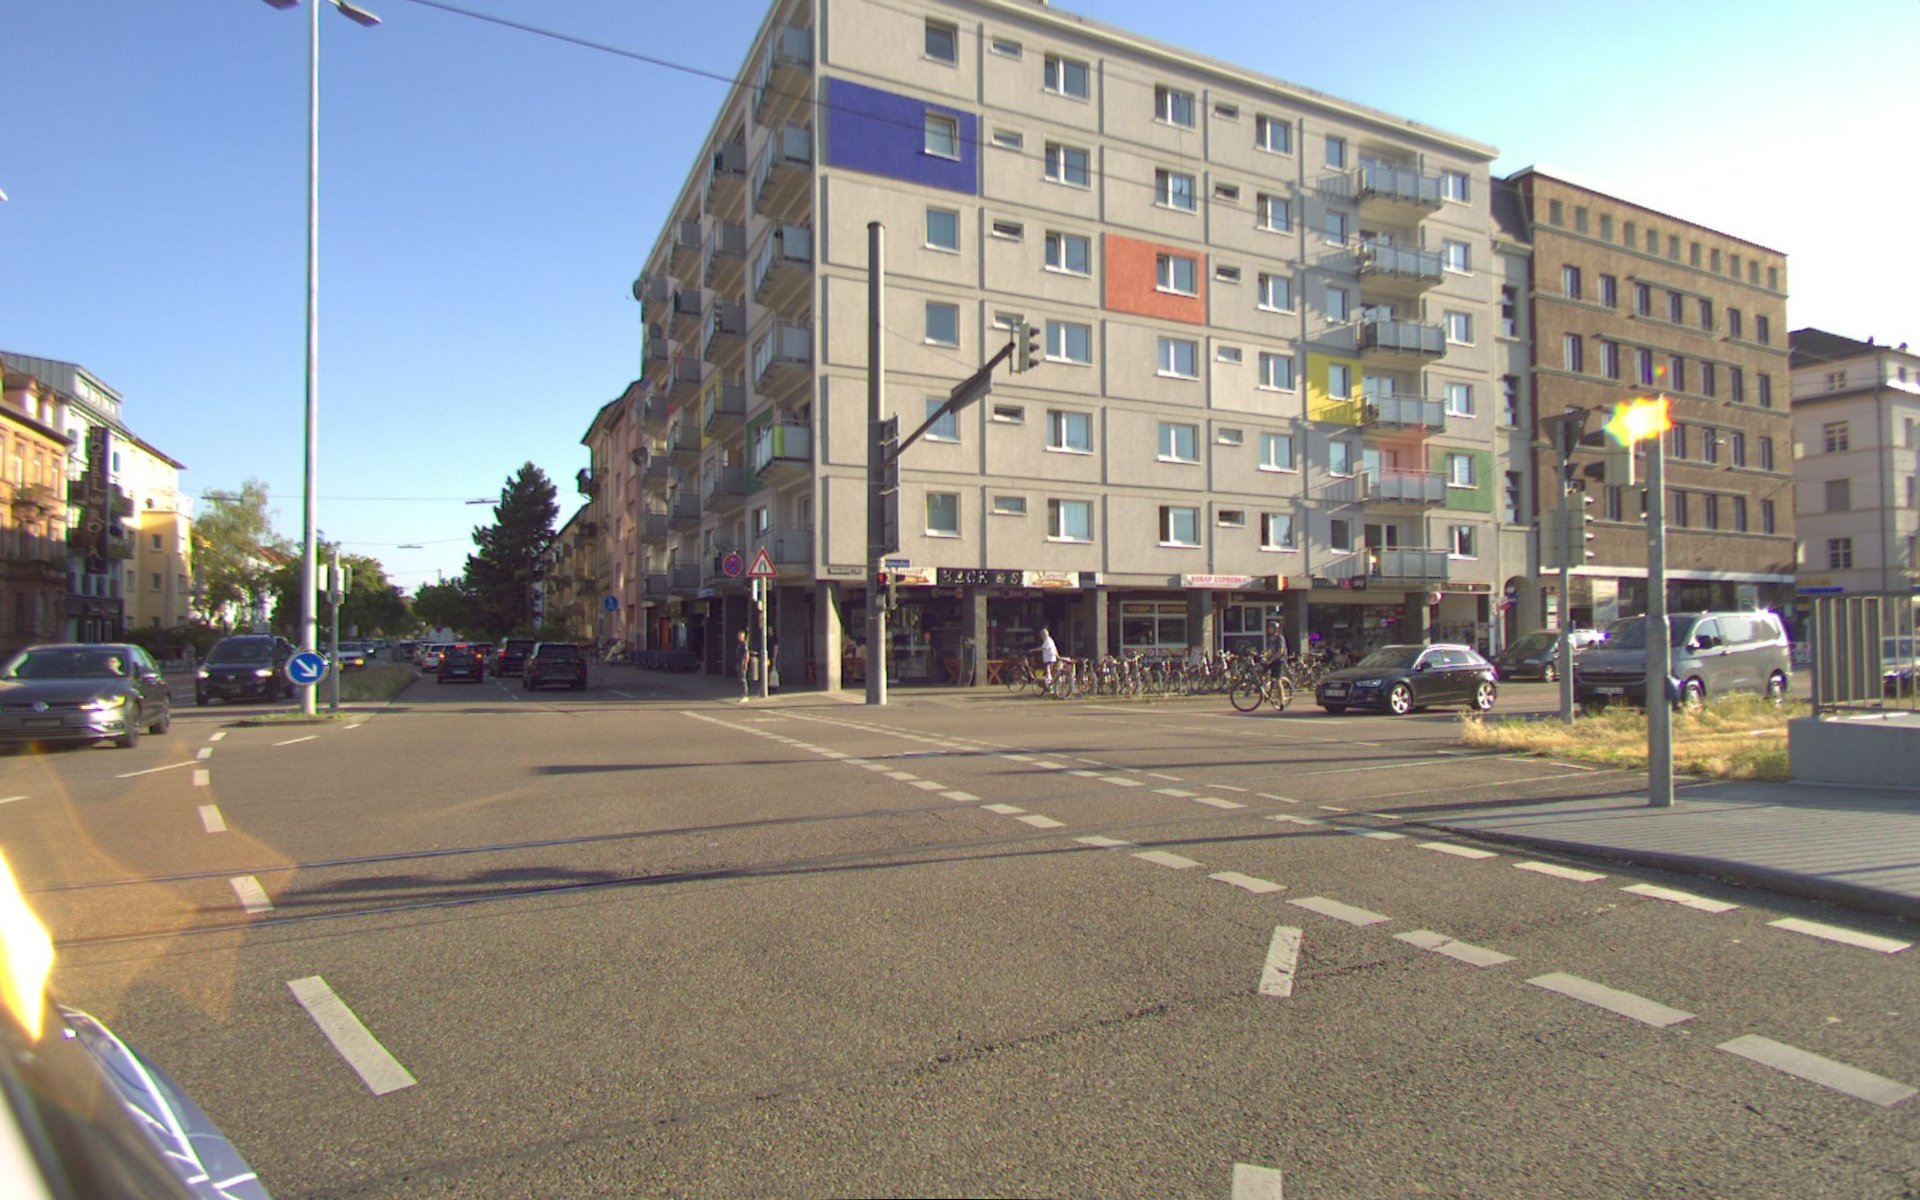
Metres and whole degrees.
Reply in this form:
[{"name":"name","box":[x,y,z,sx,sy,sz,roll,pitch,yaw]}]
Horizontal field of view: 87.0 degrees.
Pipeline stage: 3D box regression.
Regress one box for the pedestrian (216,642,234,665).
[{"name":"pedestrian","box":[-53.185,3.840,73.274,0.726,1.614,1.014,3,-3,-22]}]

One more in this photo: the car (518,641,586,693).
[{"name":"car","box":[-13.493,2.180,33.335,1.769,1.577,4.160,1,-3,-26]}]

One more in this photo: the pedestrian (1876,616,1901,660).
[{"name":"pedestrian","box":[43.790,1.779,47.723,0.717,2.029,0.721,1,-2,-38]}]

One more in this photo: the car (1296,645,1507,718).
[{"name":"car","box":[9.168,1.619,20.995,4.128,1.323,1.807,1,-2,-28]}]

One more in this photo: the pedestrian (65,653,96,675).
[{"name":"pedestrian","box":[-48.277,3.511,55.560,1.082,1.144,0.927,0,-2,-28]}]

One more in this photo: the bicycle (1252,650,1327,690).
[{"name":"bicycle","box":[9.626,2.028,29.658,0.636,1.059,2.307,1,-2,-26]}]

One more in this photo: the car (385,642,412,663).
[{"name":"car","box":[-43.914,4.088,79.166,1.652,1.556,4.114,2,-3,-31]}]

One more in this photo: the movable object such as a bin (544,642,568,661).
[{"name":"movable object such as a bin","box":[-27.606,3.499,69.176,0.923,1.242,1.282,-2,-2,24]}]

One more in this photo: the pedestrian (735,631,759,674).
[{"name":"pedestrian","box":[-8.379,2.055,39.800,0.656,1.685,0.619,-2,-2,28]}]

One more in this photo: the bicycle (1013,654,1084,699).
[{"name":"bicycle","box":[2.238,1.939,26.011,0.724,1.059,2.307,1,-2,-26]}]

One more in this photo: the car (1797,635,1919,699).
[{"name":"car","box":[21.586,1.523,23.559,3.846,1.385,1.807,1,-4,-28]}]

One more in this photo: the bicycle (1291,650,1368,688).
[{"name":"bicycle","box":[11.038,2.042,30.343,0.724,1.059,2.307,1,-2,-26]}]

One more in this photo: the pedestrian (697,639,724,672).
[{"name":"pedestrian","box":[-10.601,2.334,42.940,0.958,1.357,0.885,0,-2,-26]}]

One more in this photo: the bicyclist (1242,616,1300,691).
[{"name":"bicyclist","box":[6.799,1.167,22.146,0.725,1.610,0.966,1,-3,-25]}]

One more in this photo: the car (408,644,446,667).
[{"name":"car","box":[-33.981,3.529,64.430,1.685,1.436,4.113,3,-4,-34]}]

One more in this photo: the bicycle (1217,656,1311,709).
[{"name":"bicycle","box":[6.602,1.781,22.016,1.752,1.106,0.954,1,-3,-25]}]

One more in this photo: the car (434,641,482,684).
[{"name":"car","box":[-19.341,2.386,39.066,1.555,1.556,3.488,2,-3,-26]}]

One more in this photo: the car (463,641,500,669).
[{"name":"car","box":[-27.831,3.196,58.842,1.652,1.556,3.648,2,-3,-30]}]

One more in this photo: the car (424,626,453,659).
[{"name":"car","box":[-45.606,3.711,88.540,2.100,2.777,4.480,2,-3,-26]}]

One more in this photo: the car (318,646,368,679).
[{"name":"car","box":[-32.055,3.218,52.704,1.875,1.552,4.013,0,-2,-26]}]

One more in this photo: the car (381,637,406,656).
[{"name":"car","box":[-49.438,4.048,88.273,1.696,1.641,4.114,2,-3,-31]}]

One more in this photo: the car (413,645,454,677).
[{"name":"car","box":[-26.797,3.074,51.435,1.652,1.556,3.817,2,-3,-30]}]

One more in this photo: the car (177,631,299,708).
[{"name":"car","box":[-19.111,1.783,26.990,1.863,1.868,4.481,2,-3,-26]}]

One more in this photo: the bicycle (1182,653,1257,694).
[{"name":"bicycle","box":[7.278,2.036,28.491,0.724,1.059,2.307,1,-2,-26]}]

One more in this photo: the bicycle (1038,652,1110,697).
[{"name":"bicycle","box":[2.942,1.907,26.386,0.724,1.059,2.307,1,-2,-26]}]

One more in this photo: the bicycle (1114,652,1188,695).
[{"name":"bicycle","box":[5.163,1.978,27.497,0.724,1.059,2.307,1,-2,-26]}]

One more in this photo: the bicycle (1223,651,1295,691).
[{"name":"bicycle","box":[8.582,2.023,29.161,0.553,1.059,2.307,1,-2,-26]}]

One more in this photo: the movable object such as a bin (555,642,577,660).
[{"name":"movable object such as a bin","box":[-26.770,3.469,68.753,0.844,1.242,1.184,-2,-2,24]}]

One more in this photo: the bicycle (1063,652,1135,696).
[{"name":"bicycle","box":[3.646,1.943,26.771,0.724,1.059,2.307,1,-2,-26]}]

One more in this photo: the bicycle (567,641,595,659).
[{"name":"bicycle","box":[-25.743,3.382,68.718,1.750,1.200,0.475,0,-2,-28]}]

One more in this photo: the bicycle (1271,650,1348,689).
[{"name":"bicycle","box":[10.329,2.040,29.990,0.724,1.059,2.307,1,-2,-26]}]

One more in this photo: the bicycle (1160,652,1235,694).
[{"name":"bicycle","box":[6.567,2.013,28.142,0.724,1.059,2.307,1,-2,-26]}]

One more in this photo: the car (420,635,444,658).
[{"name":"car","box":[-38.547,3.380,73.881,1.513,1.605,2.817,2,-3,-27]}]

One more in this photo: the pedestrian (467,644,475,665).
[{"name":"pedestrian","box":[-37.190,4.133,77.003,0.568,1.612,0.483,0,-2,-25]}]

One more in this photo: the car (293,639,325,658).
[{"name":"car","box":[-58.399,4.340,90.791,1.915,1.637,4.207,0,-2,-26]}]

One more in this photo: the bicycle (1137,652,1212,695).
[{"name":"bicycle","box":[5.871,2.000,27.831,0.724,1.059,2.307,1,-2,-26]}]

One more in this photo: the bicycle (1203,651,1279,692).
[{"name":"bicycle","box":[7.981,2.025,28.879,0.724,1.059,2.307,1,-2,-26]}]

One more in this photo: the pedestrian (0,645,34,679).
[{"name":"pedestrian","box":[-45.464,2.991,48.813,0.773,1.600,1.014,4,-4,-21]}]

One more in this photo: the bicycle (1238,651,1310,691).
[{"name":"bicycle","box":[9.104,2.050,29.417,0.553,1.059,2.307,1,-2,-26]}]

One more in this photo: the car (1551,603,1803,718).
[{"name":"car","box":[14.102,1.117,19.863,4.853,2.029,2.006,1,-2,-28]}]

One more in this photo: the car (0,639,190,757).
[{"name":"car","box":[-12.761,1.310,14.681,1.741,1.470,4.283,1,-3,-27]}]

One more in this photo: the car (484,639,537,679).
[{"name":"car","box":[-20.451,2.649,45.947,1.790,1.724,4.801,2,-3,-28]}]

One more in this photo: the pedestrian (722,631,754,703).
[{"name":"pedestrian","box":[-5.771,1.731,26.267,0.600,1.800,0.815,-2,-1,-22]}]

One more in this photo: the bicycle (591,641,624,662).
[{"name":"bicycle","box":[-20.650,3.027,59.260,1.750,1.200,0.475,0,-2,-28]}]

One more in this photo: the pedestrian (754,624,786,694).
[{"name":"pedestrian","box":[-5.269,1.631,28.068,0.600,1.889,0.815,-2,-1,-25]}]

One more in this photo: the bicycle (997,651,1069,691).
[{"name":"bicycle","box":[2.043,1.981,28.367,2.030,1.100,0.521,2,-3,-26]}]

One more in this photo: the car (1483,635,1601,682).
[{"name":"car","box":[20.198,1.989,35.105,3.931,1.519,1.701,1,-2,-28]}]

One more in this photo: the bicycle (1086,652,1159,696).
[{"name":"bicycle","box":[4.334,1.959,27.145,0.724,1.059,2.307,1,-2,-26]}]

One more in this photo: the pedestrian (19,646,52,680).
[{"name":"pedestrian","box":[-44.778,3.042,49.036,0.726,1.600,1.014,4,-4,-21]}]

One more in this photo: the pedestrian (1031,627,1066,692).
[{"name":"pedestrian","box":[2.441,1.636,27.907,0.600,1.736,0.687,-2,-1,-26]}]
